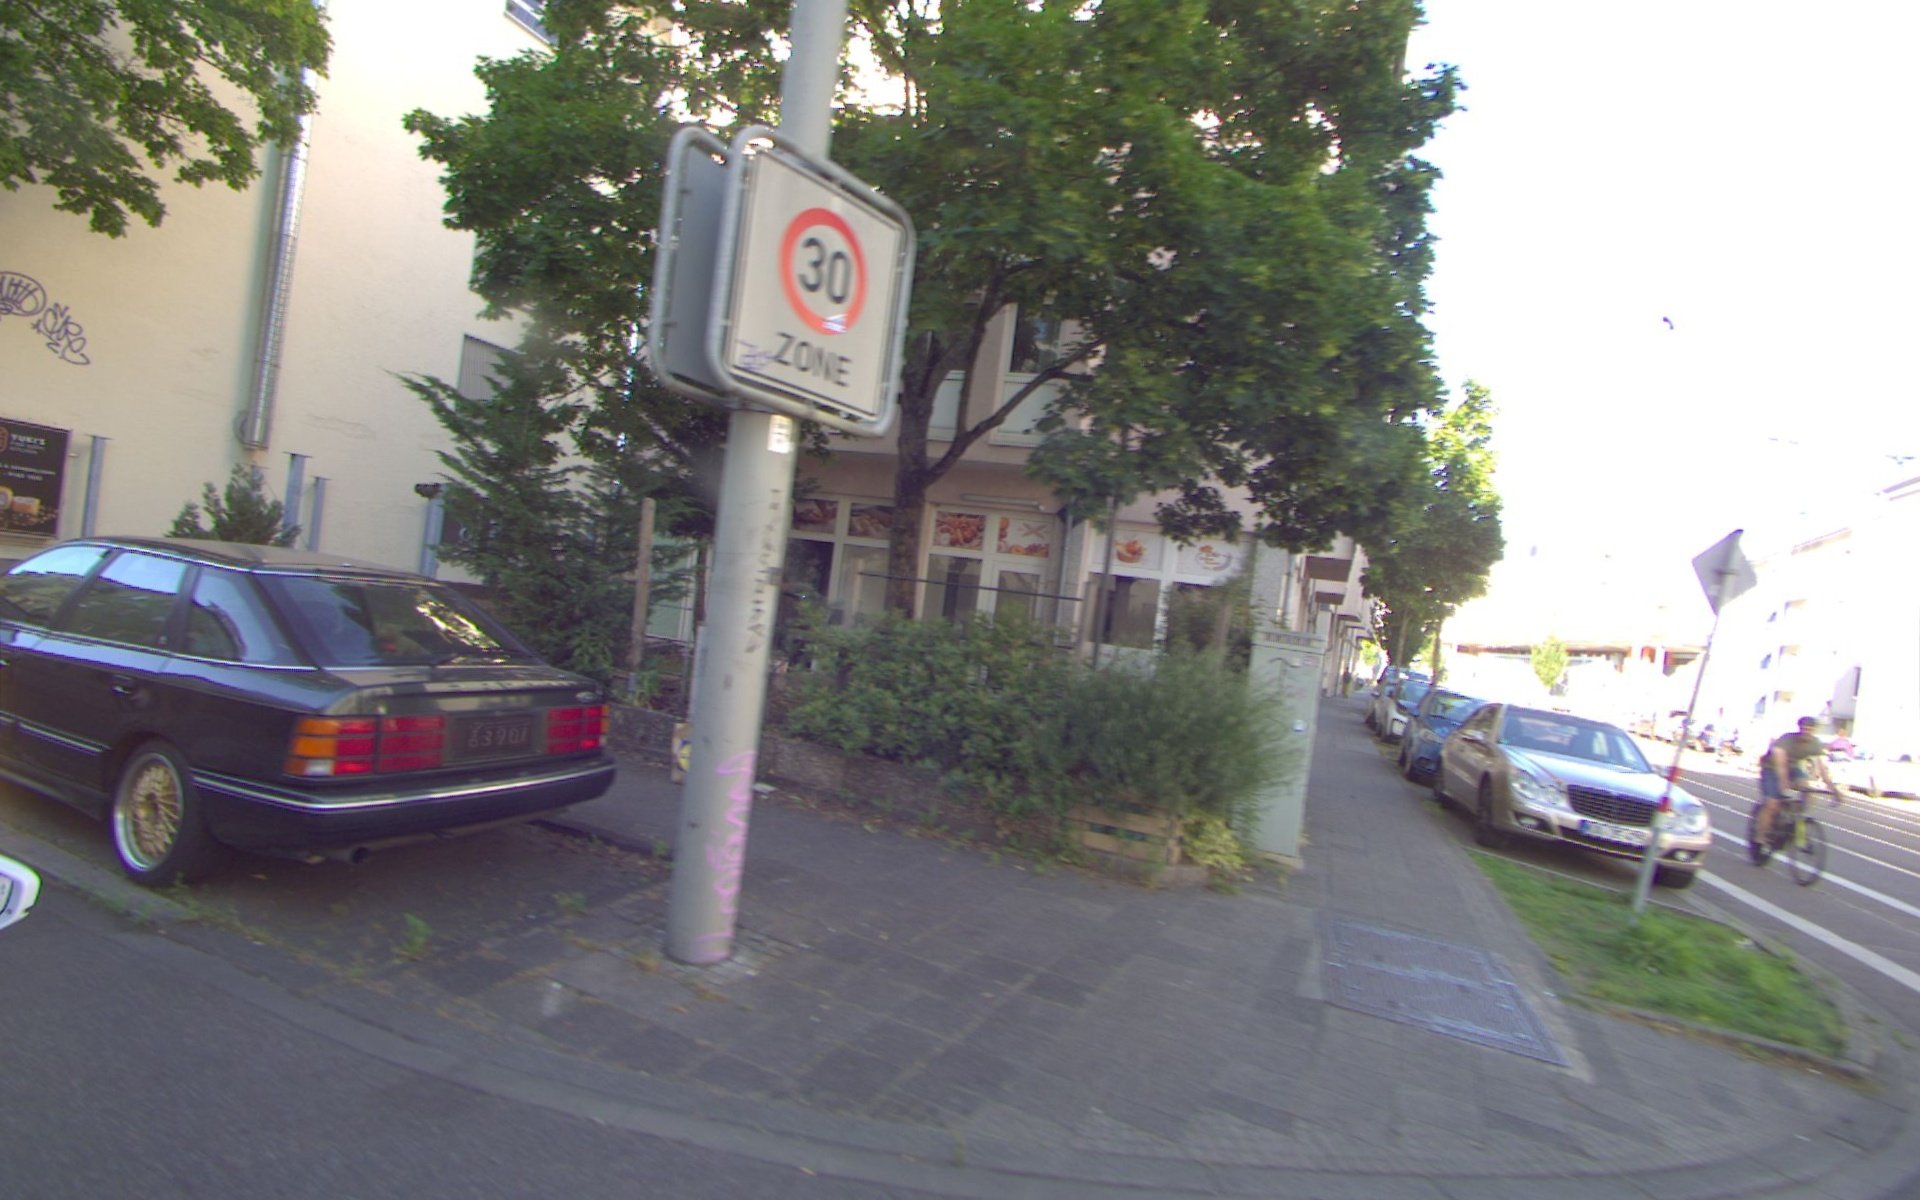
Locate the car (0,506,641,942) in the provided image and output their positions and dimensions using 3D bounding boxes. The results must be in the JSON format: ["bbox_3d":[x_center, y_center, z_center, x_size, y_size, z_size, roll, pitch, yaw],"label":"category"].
[{"bbox_3d":[-4.095,0.350,5.360,4.488,1.405,1.713,7,0,25],"label":"car"}]

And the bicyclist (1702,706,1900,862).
[{"bbox_3d":[8.967,1.922,10.805,1.165,1.346,1.095,7,0,17],"label":"bicyclist"}]

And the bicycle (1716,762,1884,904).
[{"bbox_3d":[8.957,2.437,10.831,0.612,1.115,1.961,6,-1,18],"label":"bicycle"}]

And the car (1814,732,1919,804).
[{"bbox_3d":[28.409,5.147,30.781,1.815,1.665,4.550,7,-1,20],"label":"car"}]

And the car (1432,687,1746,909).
[{"bbox_3d":[6.311,1.861,10.640,1.717,1.460,4.001,10,0,19],"label":"car"}]
